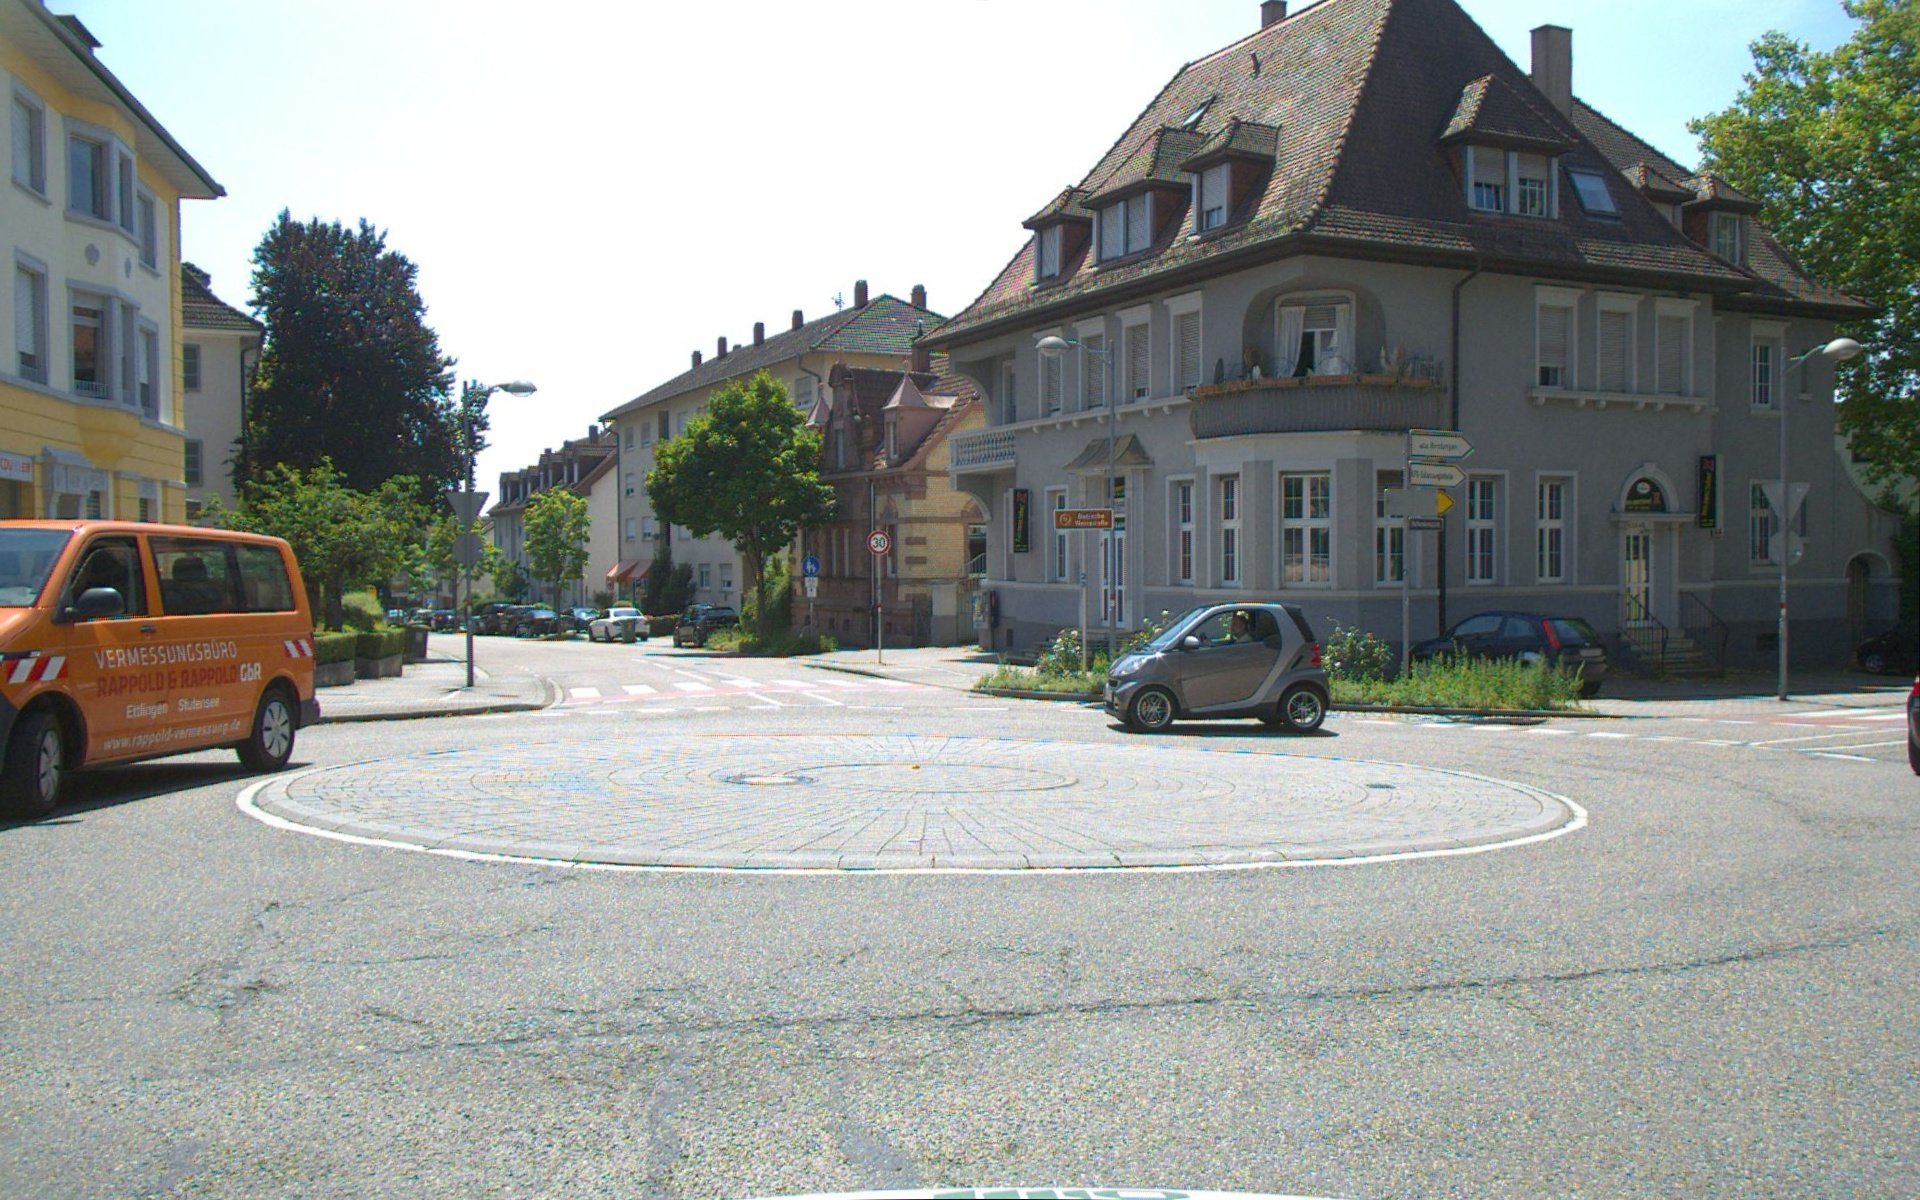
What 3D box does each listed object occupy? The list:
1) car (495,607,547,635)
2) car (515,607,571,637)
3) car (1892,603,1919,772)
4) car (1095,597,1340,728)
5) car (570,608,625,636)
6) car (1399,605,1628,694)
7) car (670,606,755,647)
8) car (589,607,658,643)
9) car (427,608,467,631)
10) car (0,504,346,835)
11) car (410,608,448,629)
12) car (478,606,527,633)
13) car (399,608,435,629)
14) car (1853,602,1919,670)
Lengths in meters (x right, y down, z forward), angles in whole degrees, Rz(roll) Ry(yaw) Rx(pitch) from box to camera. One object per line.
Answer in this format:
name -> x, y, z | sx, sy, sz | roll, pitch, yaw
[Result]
car -> -24.752, 1.140, 93.120 | 1.970, 1.535, 4.379 | 0, 0, -27
car -> -22.143, 1.130, 87.728 | 1.970, 1.535, 4.379 | 0, 0, -27
car -> 10.155, 0.773, 15.370 | 1.687, 1.473, 4.030 | 0, 0, 44
car -> 3.148, 0.752, 20.507 | 2.725, 1.557, 1.568 | 0, 0, -5
car -> -20.357, 1.228, 92.682 | 1.970, 1.535, 4.379 | 0, 0, -27
car -> 9.888, 0.836, 29.793 | 1.701, 1.486, 3.753 | 0, 0, -31
car -> -9.547, 0.992, 63.563 | 1.970, 1.535, 4.379 | 0, 0, -27
car -> -15.172, 1.095, 74.351 | 1.970, 1.535, 4.379 | 0, 0, -27
car -> -36.001, 1.355, 116.102 | 1.970, 1.535, 4.379 | 0, 0, -27
car -> -6.554, 0.371, 12.067 | 1.903, 1.993, 5.025 | 0, 1, 5
car -> -38.980, 1.335, 121.426 | 1.970, 1.535, 4.379 | 0, 0, -27
car -> -27.096, 1.148, 97.859 | 1.970, 1.535, 4.379 | 0, 0, -27
car -> -41.548, 1.422, 126.566 | 1.970, 1.535, 4.379 | 0, 0, -27
car -> 22.880, 0.839, 38.450 | 1.701, 1.574, 3.357 | 0, 0, -31
